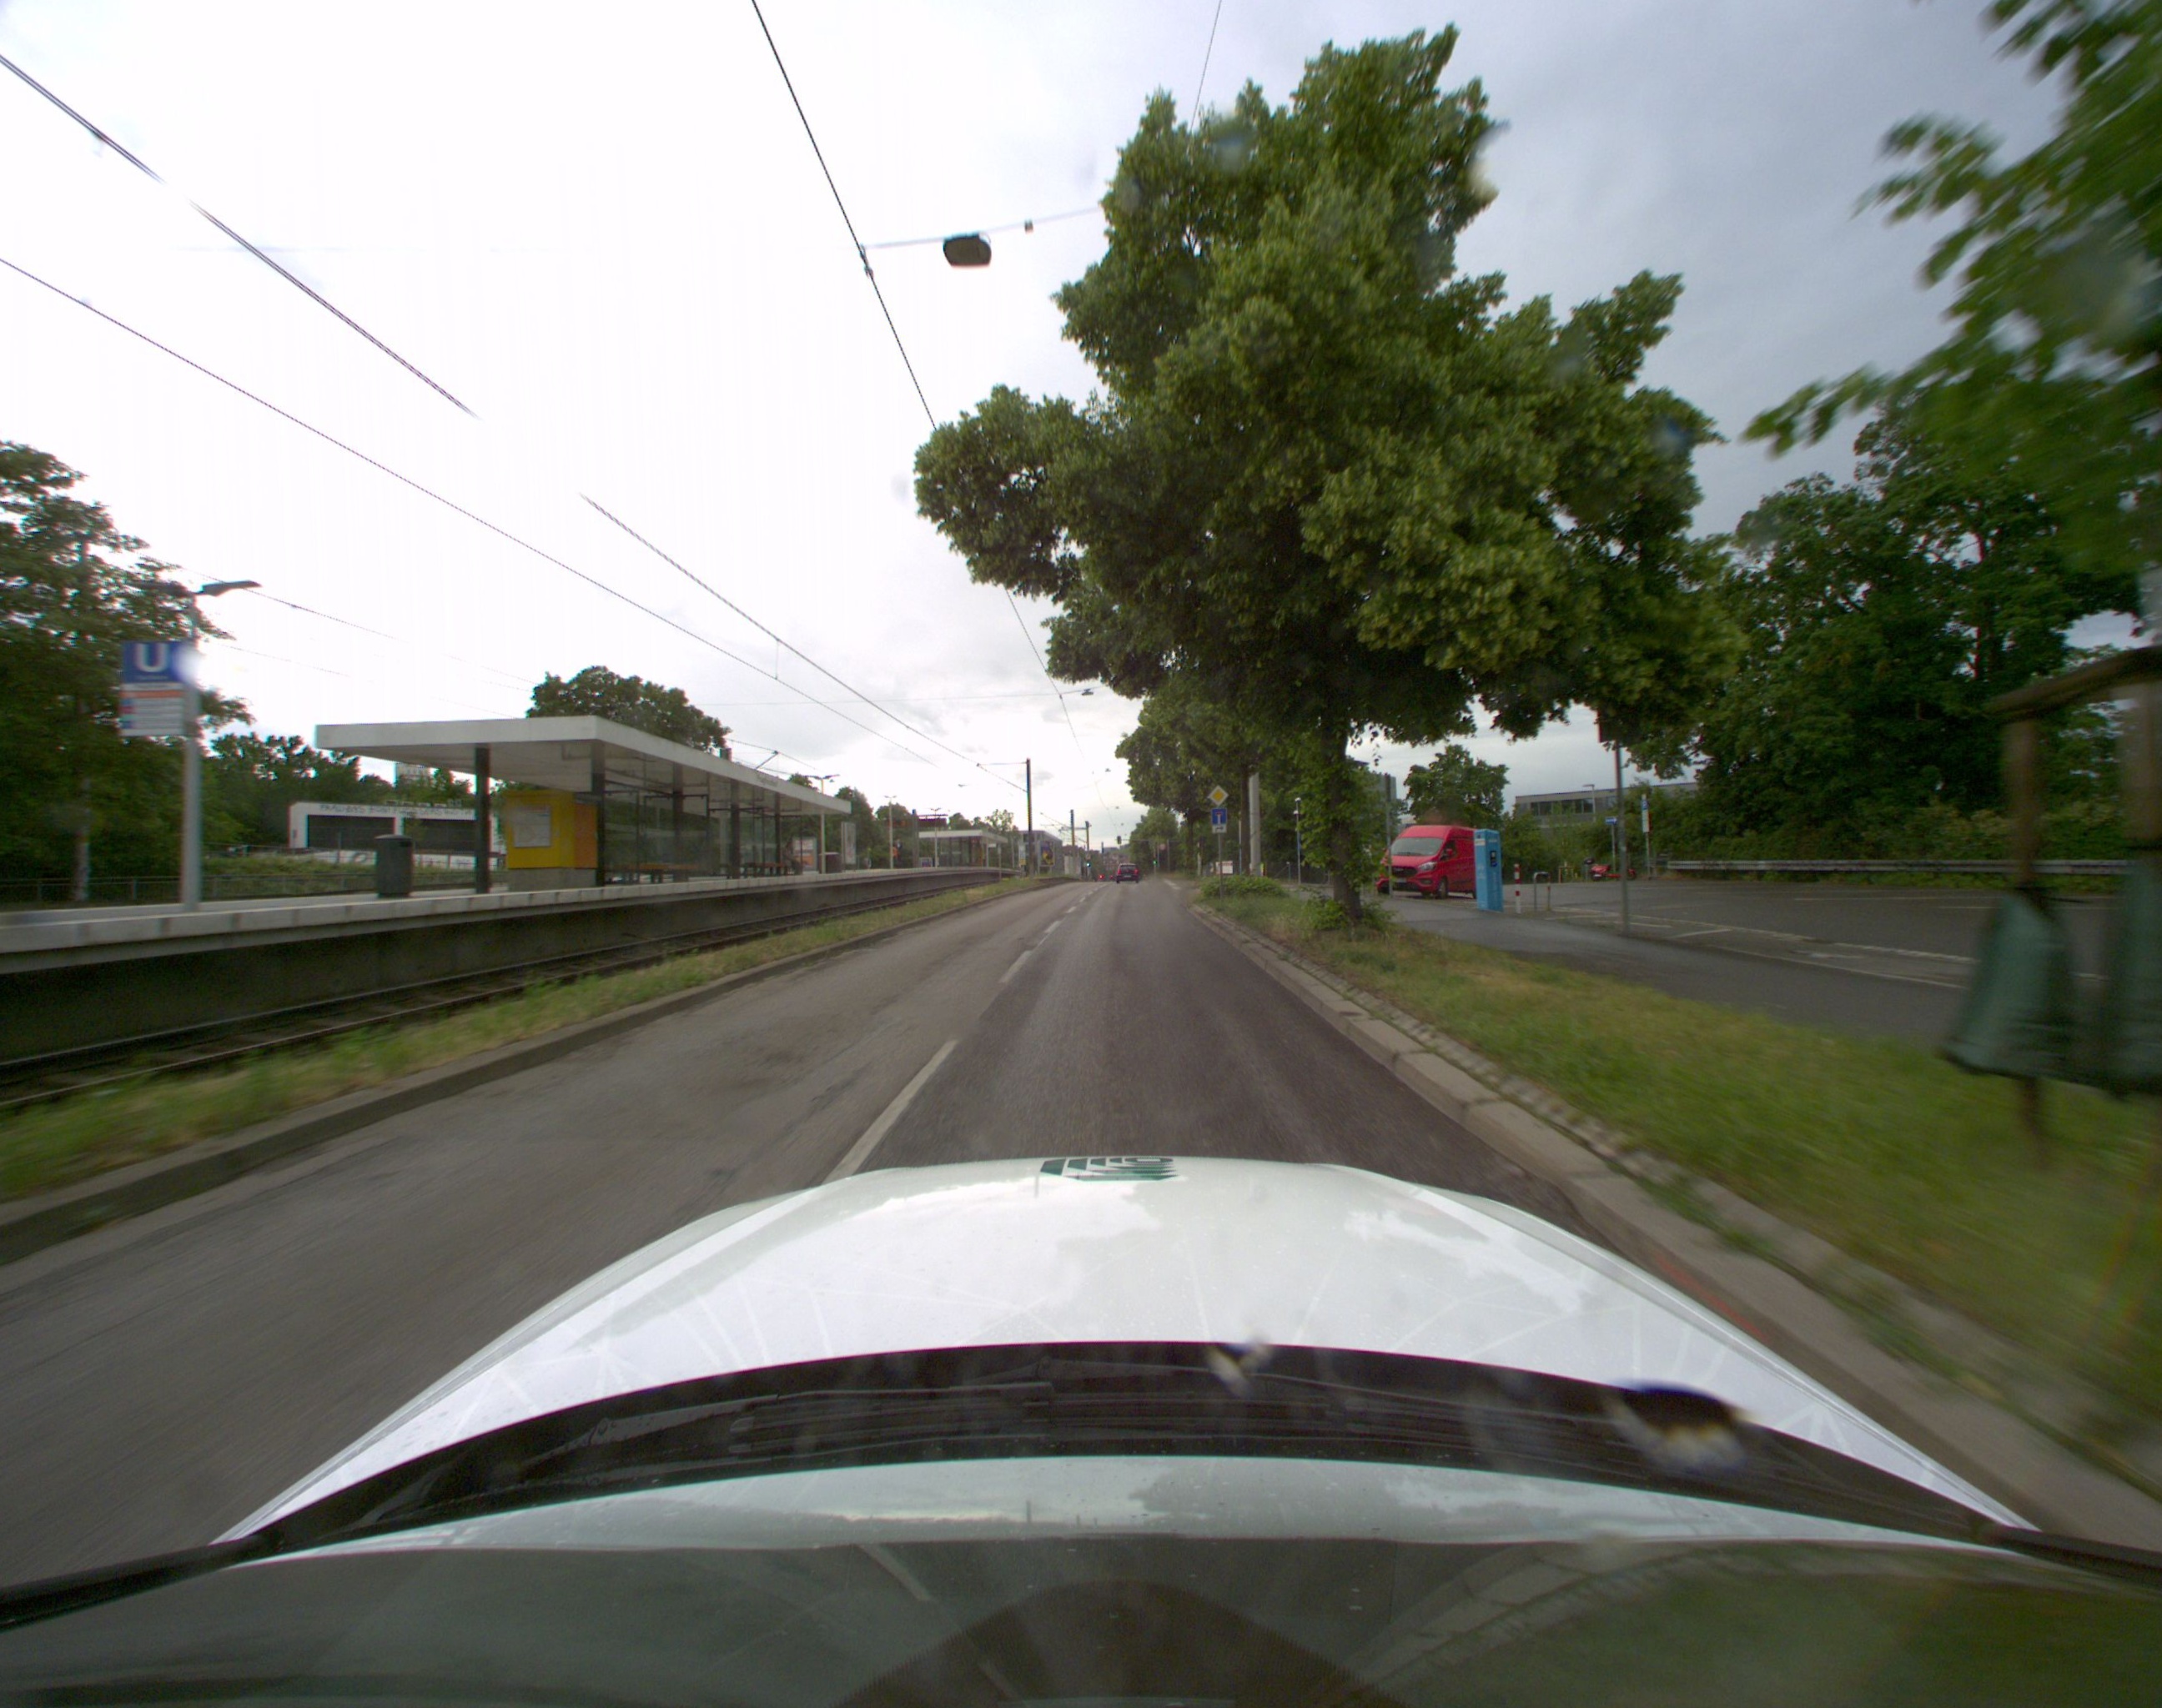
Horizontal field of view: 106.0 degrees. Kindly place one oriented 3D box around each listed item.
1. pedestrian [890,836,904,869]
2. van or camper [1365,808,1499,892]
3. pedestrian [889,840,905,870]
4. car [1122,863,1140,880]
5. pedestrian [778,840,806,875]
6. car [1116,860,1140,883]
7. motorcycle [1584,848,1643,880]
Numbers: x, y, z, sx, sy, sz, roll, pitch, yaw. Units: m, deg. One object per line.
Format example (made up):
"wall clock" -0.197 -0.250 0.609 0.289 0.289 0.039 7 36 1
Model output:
"pedestrian" -10.768 -0.108 47.698 0.745 1.909 0.837 0 1 -18
"van or camper" 11.332 -0.077 26.075 2.016 2.406 5.422 3 0 45
"pedestrian" -10.583 0.045 46.760 0.797 1.647 0.913 0 1 -19
"car" 5.107 1.781 83.250 1.681 1.517 4.002 -2 0 2
"pedestrian" -10.181 0.128 28.686 0.707 1.225 0.620 -1 0 2
"car" 3.461 1.257 60.604 1.720 1.540 4.003 -2 0 2
"motorcycle" 22.774 0.430 34.870 1.998 1.214 0.476 -6 -9 41
